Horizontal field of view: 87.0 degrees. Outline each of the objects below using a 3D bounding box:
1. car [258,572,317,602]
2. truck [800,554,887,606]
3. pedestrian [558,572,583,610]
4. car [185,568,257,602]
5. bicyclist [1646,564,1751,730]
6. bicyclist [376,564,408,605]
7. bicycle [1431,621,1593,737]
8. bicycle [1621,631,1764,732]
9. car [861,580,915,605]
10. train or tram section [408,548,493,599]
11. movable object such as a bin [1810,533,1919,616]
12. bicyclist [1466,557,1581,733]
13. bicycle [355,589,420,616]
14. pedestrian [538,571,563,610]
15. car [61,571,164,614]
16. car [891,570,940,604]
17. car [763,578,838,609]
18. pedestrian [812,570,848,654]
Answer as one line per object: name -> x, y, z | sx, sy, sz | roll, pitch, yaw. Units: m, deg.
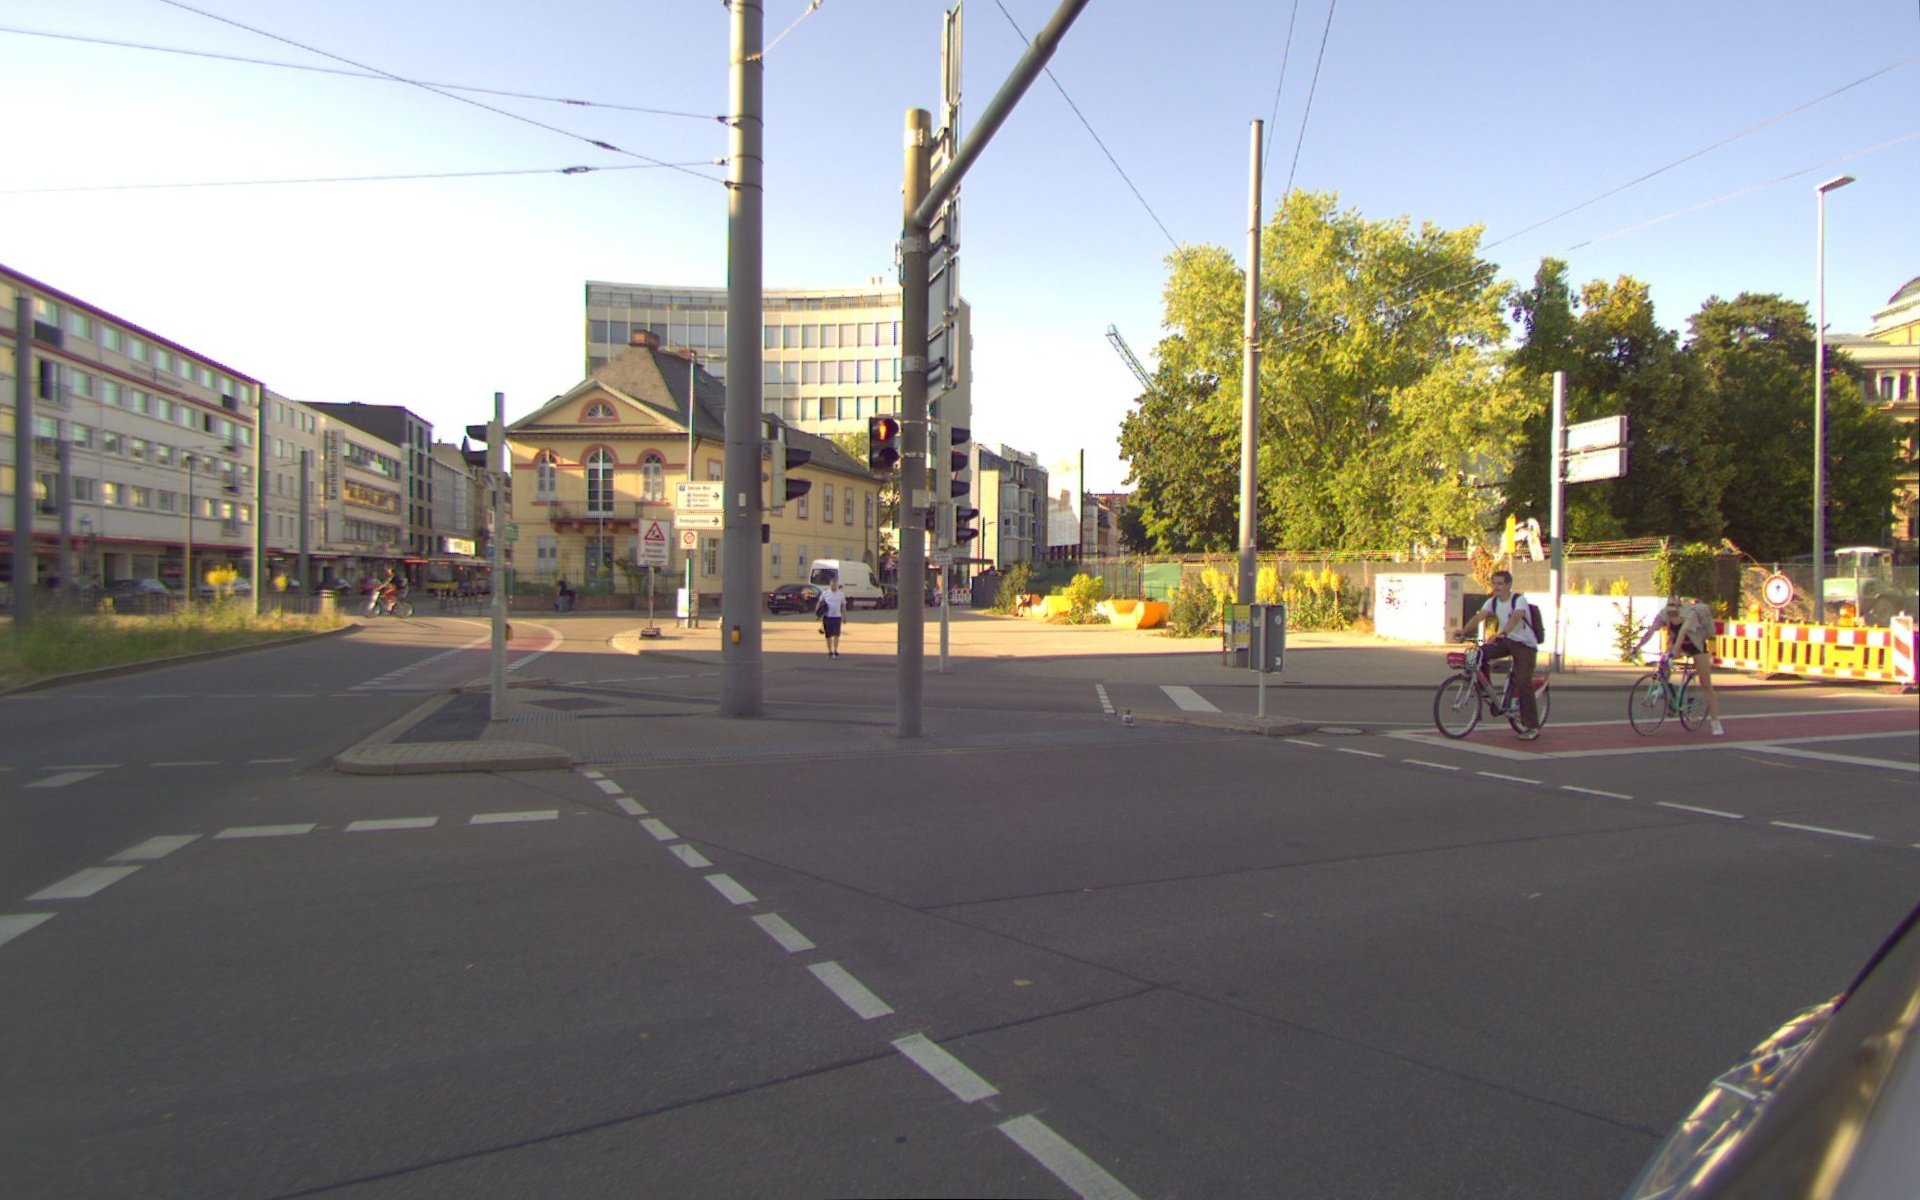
car -> -48.027, -0.900, 72.405 | 1.958, 2.039, 4.882 | -1, 0, -14
truck -> -6.047, -0.997, 53.362 | 2.273, 2.581, 5.601 | -1, 0, 21
pedestrian -> -17.025, -0.401, 44.241 | 0.804, 1.663, 0.684 | 0, -1, -44
car -> -46.438, -0.907, 63.704 | 1.958, 2.039, 4.882 | -1, 0, -14
bicyclist -> 8.164, 0.495, 11.199 | 0.776, 1.768, 0.617 | 0, -1, -25
bicyclist -> -20.742, -0.562, 36.931 | 0.882, 1.476, 0.723 | 0, -1, -42
bicycle -> 5.835, 0.796, 10.683 | 1.771, 1.115, 0.544 | -1, 0, -25
bicycle -> 8.123, 0.873, 11.212 | 1.659, 1.014, 0.544 | -1, 0, -25
car -> -4.151, -0.448, 58.759 | 1.693, 1.382, 3.736 | -1, 0, 21
train or tram section -> -42.415, -2.233, 84.835 | 3.637, 3.881, 13.390 | 0, 2, -15
movable object such as a bin -> 31.838, -0.856, 34.468 | 4.908, 2.718, 2.004 | -1, 0, -16
bicyclist -> 6.005, 0.456, 10.783 | 1.038, 1.790, 0.544 | 0, -1, -25
bicycle -> -20.819, 0.093, 36.834 | 1.958, 0.960, 0.722 | -1, 0, -43
pedestrian -> -17.632, -0.414, 43.542 | 0.804, 1.663, 0.684 | 0, -1, -45
car -> -41.989, -0.345, 50.284 | 1.958, 2.039, 4.882 | -1, 0, -14
car -> -2.756, -0.781, 62.856 | 1.693, 2.006, 3.736 | -1, 0, 21
car -> -7.481, -0.294, 47.860 | 1.693, 1.382, 4.166 | -1, 0, 21
pedestrian -> -2.867, 0.252, 22.260 | 0.745, 1.784, 1.009 | -1, 0, -8
